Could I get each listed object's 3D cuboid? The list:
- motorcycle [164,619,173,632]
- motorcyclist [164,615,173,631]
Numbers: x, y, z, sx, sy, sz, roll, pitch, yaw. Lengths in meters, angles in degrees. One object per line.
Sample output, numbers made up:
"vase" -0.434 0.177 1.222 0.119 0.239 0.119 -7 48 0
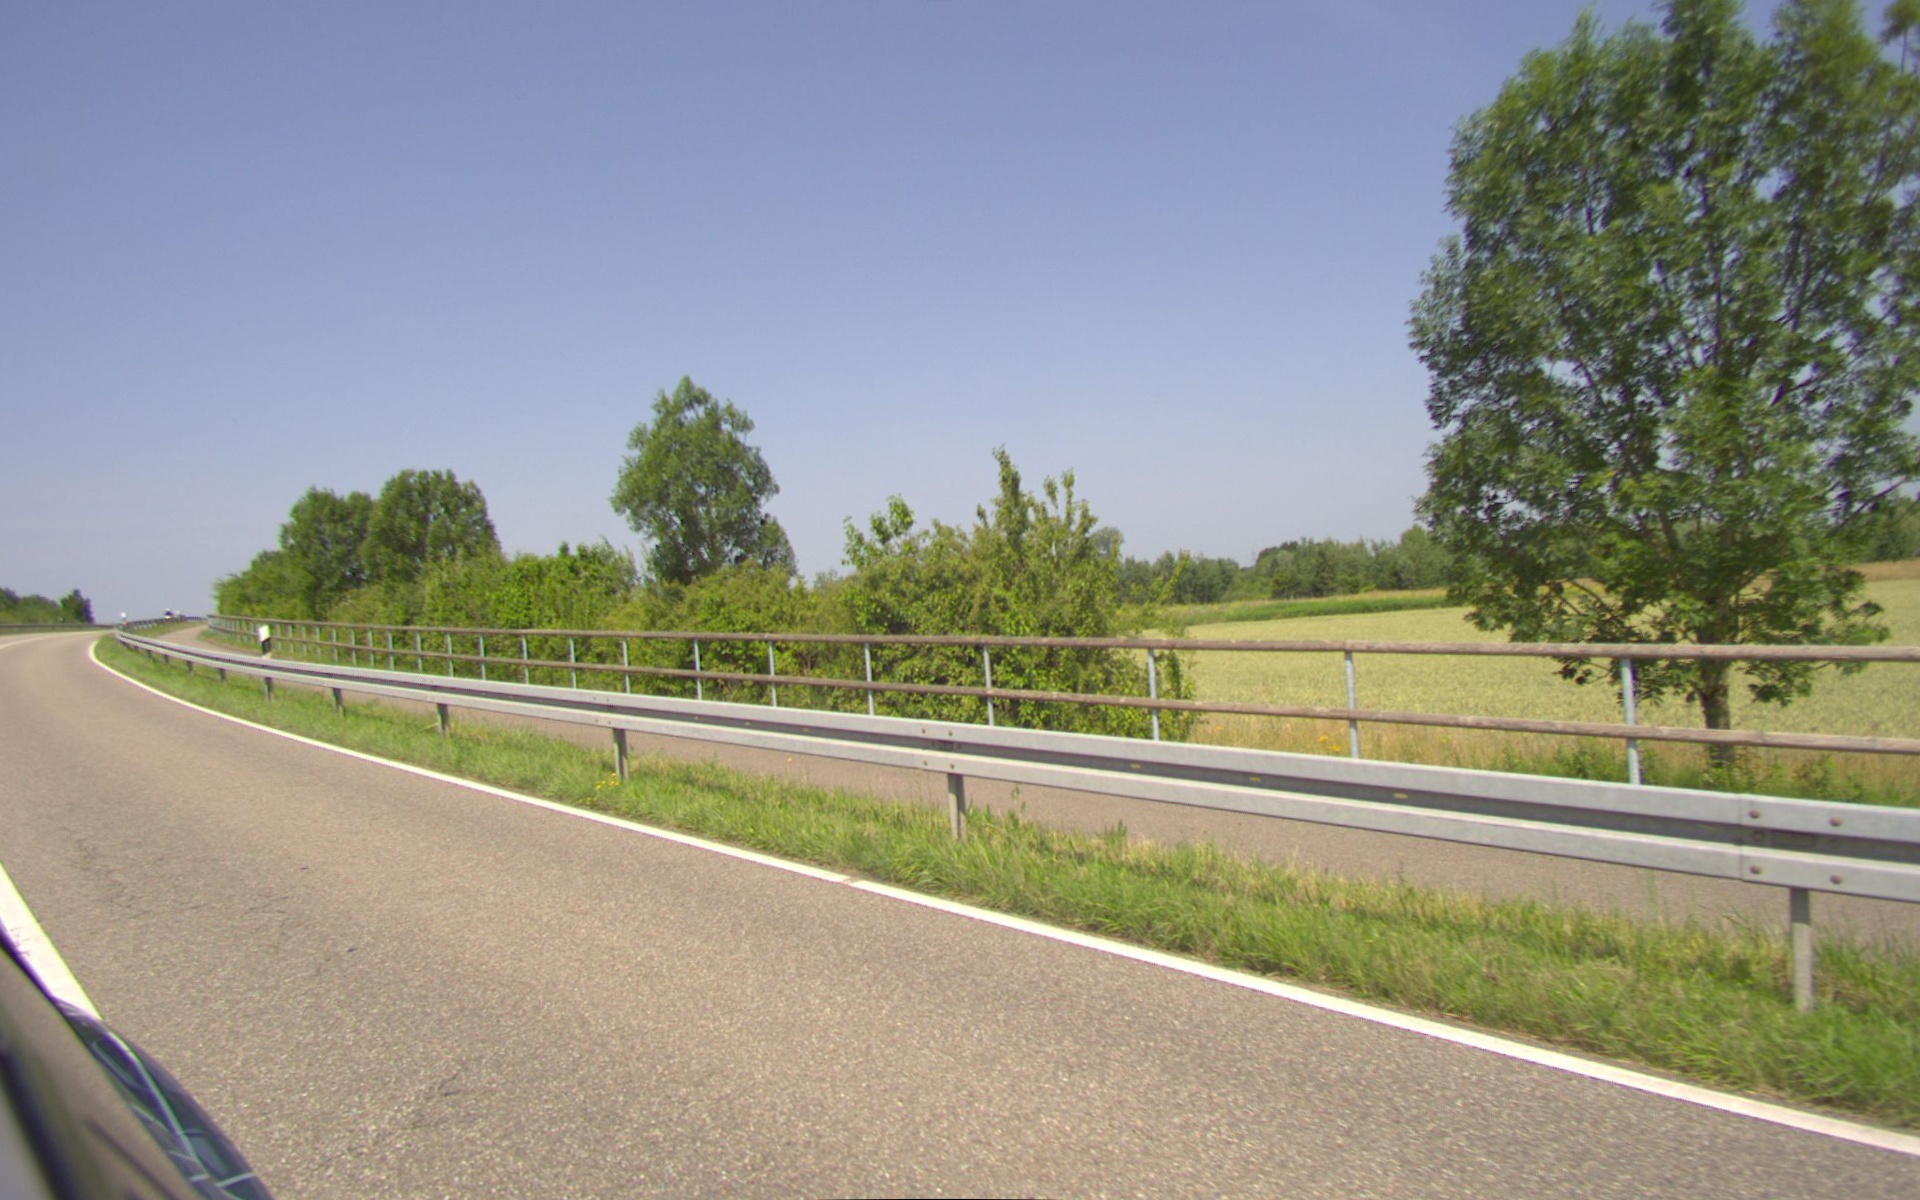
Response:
"motorcycle" -78.944 2.564 100.941 0.634 1.233 1.642 0 -1 -35
"motorcyclist" -78.884 2.246 100.836 0.645 1.574 0.777 0 -1 -35
